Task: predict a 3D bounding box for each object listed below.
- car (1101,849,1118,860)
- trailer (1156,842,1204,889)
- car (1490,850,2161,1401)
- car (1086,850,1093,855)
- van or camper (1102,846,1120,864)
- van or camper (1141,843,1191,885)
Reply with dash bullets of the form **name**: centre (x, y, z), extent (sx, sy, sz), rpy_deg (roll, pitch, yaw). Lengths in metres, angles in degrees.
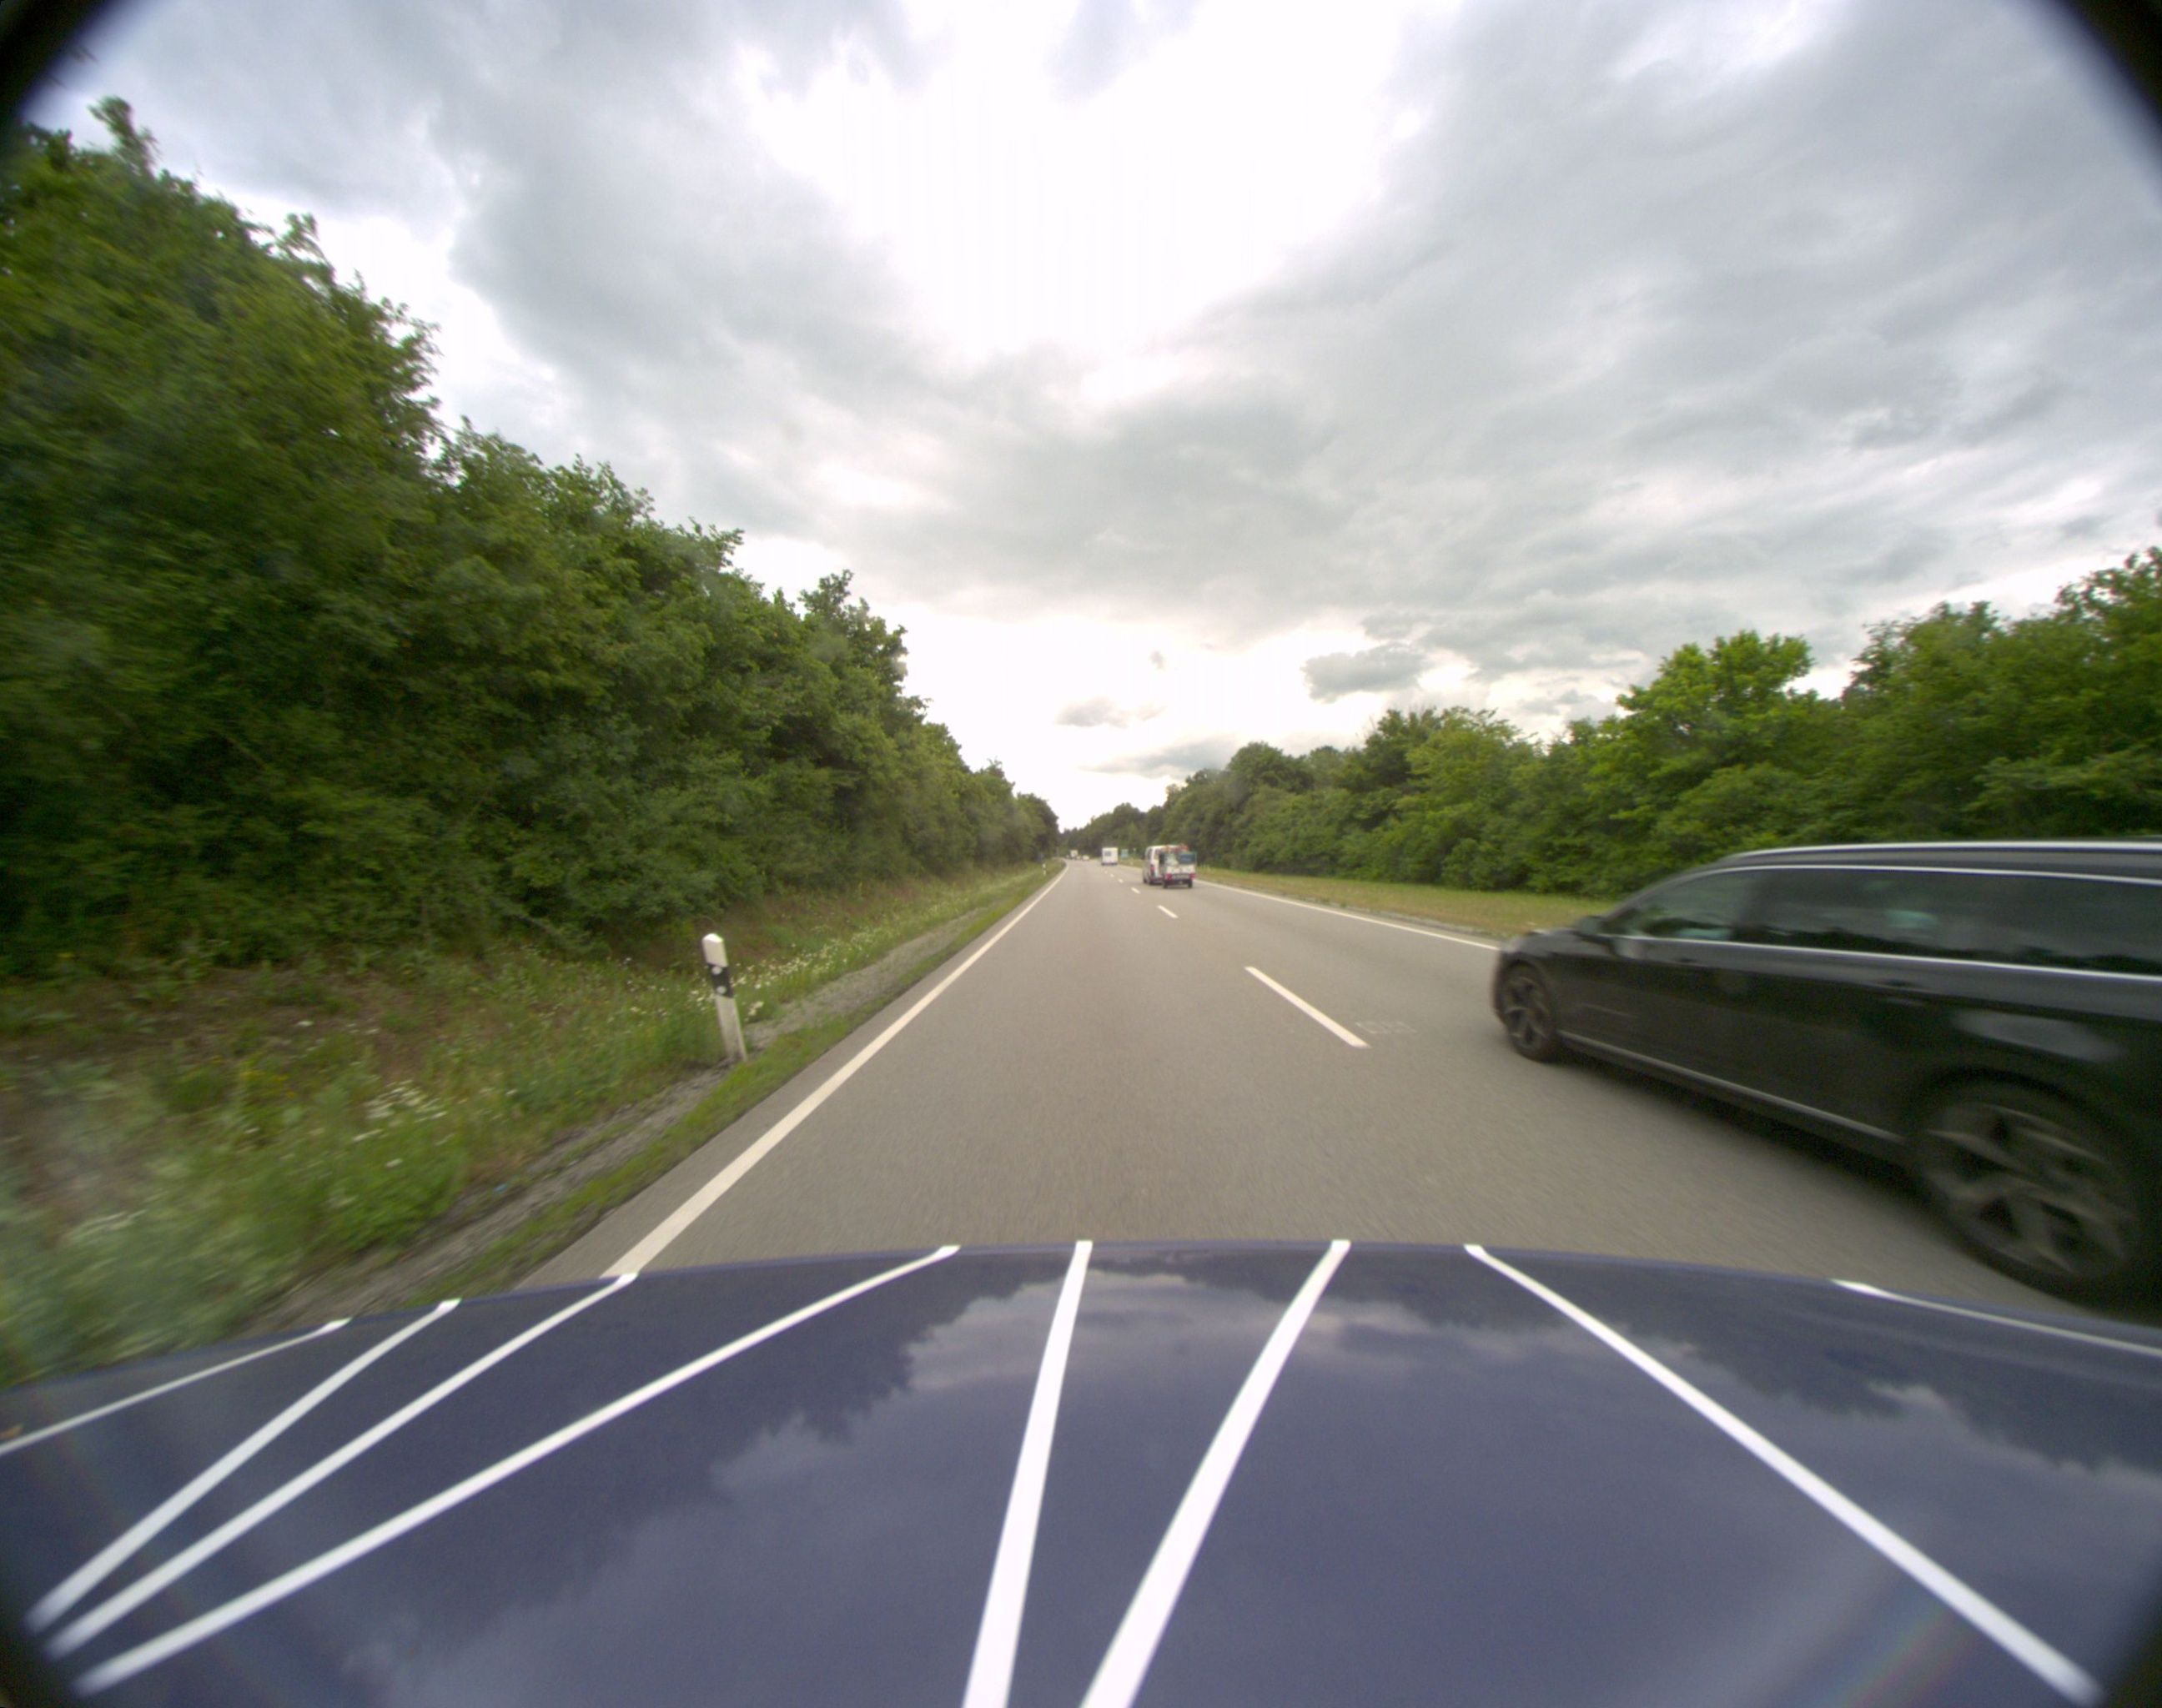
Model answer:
- **car**: centre (4.361, 0.084, 117.731), extent (2.285, 1.594, 4.691), rpy_deg (-5, 0, 0)
- **trailer**: centre (4.315, 0.476, 33.571), extent (1.626, 1.881, 3.783), rpy_deg (-2, 0, 1)
- **car**: centre (3.834, 0.746, 3.332), extent (1.692, 1.471, 4.456), rpy_deg (-2, 0, 1)
- **car**: centre (2.388, -0.436, 222.889), extent (1.969, 1.565, 5.451), rpy_deg (-2, 0, -1)
- **van or camper**: centre (4.365, 0.163, 112.205), extent (2.386, 2.560, 6.278), rpy_deg (-2, 0, 0)
- **van or camper**: centre (4.192, 0.457, 38.280), extent (1.926, 1.881, 5.361), rpy_deg (-2, 0, 1)
